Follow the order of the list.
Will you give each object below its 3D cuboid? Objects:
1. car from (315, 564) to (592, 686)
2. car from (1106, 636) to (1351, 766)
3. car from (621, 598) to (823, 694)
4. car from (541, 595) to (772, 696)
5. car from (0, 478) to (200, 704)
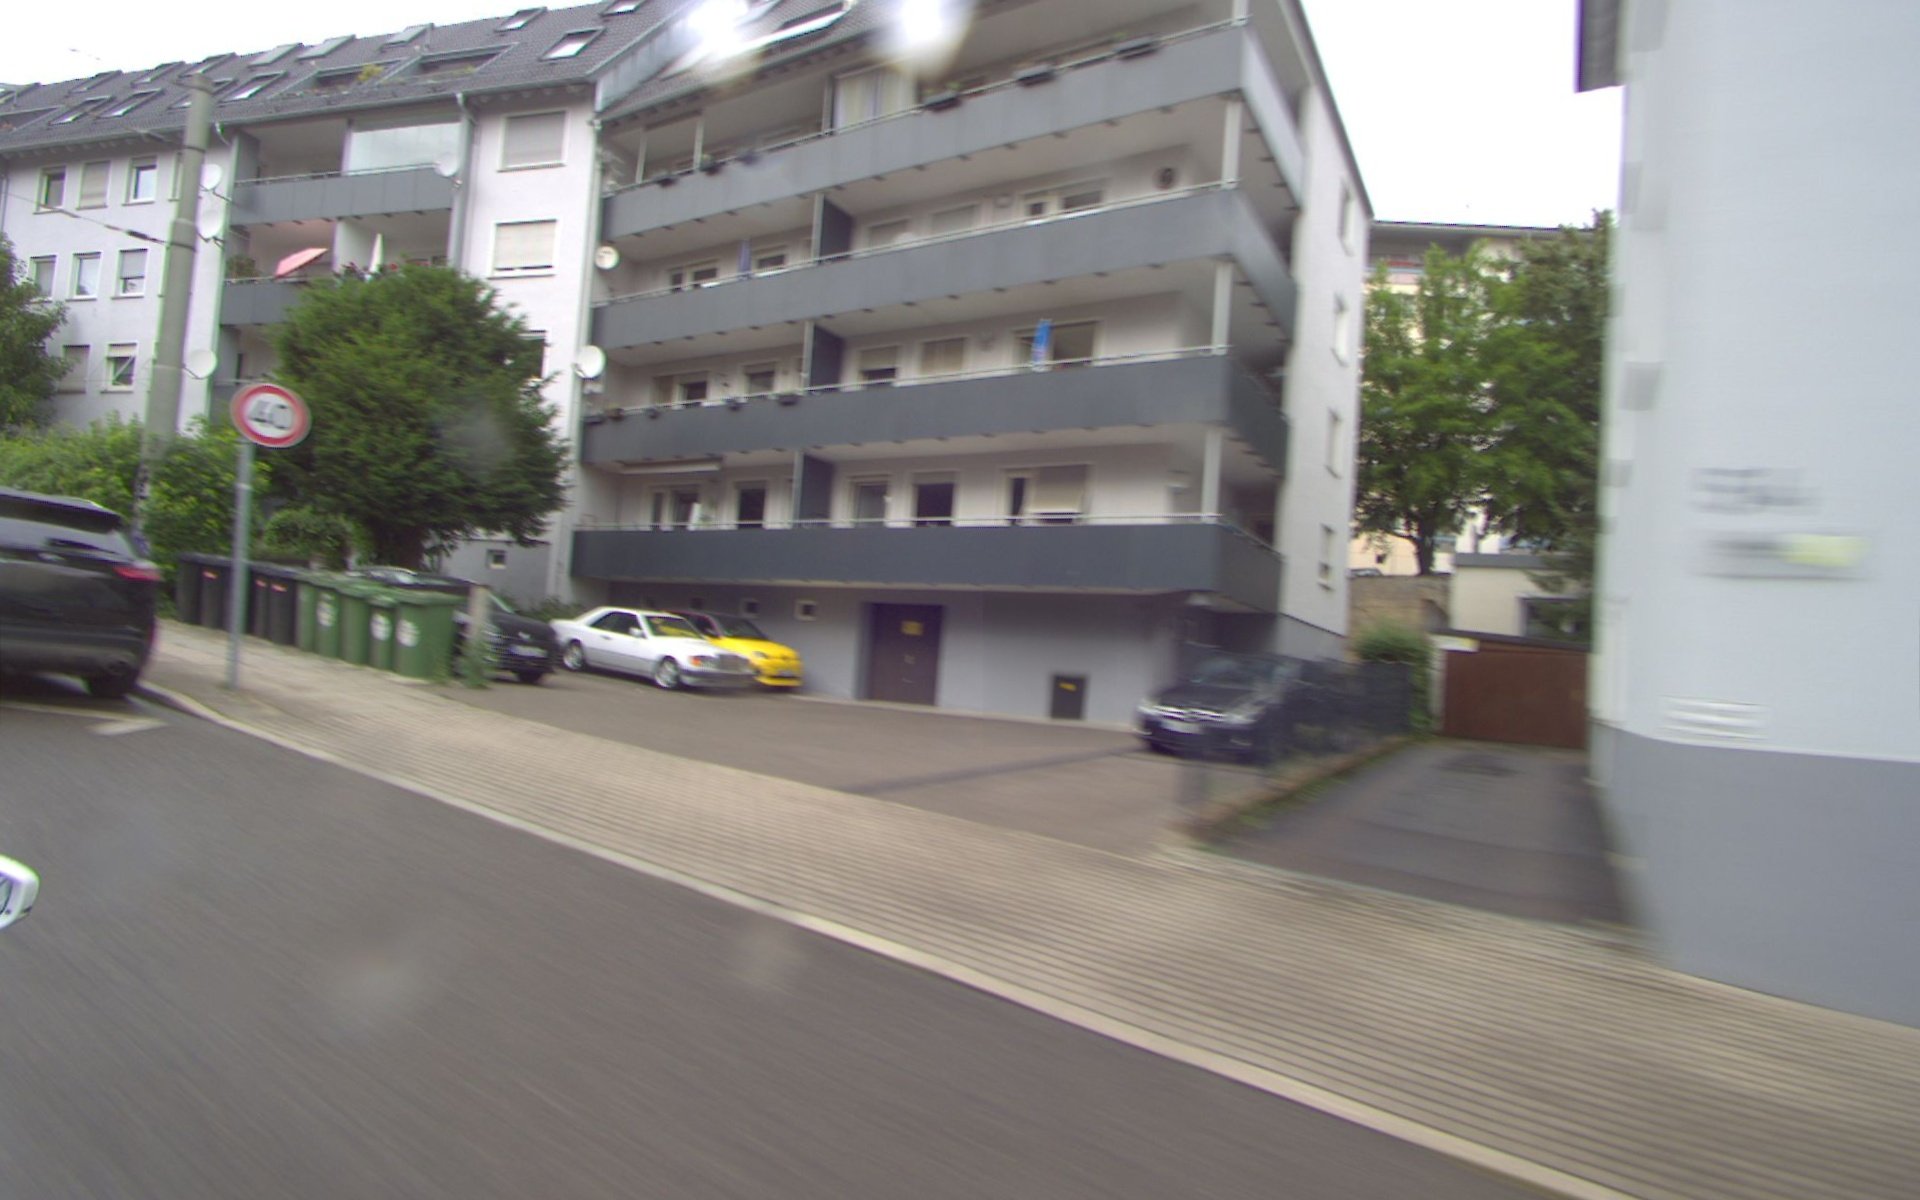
[{"bbox_3d":[-7.732,0.357,15.274,4.136,1.531,1.724,2,-4,31],"label":"car"},{"bbox_3d":[3.979,1.372,14.364,1.792,1.450,4.366,3,-1,37],"label":"car"},{"bbox_3d":[-5.180,0.983,21.722,4.134,1.539,1.687,6,-1,31],"label":"car"},{"bbox_3d":[-6.005,0.873,19.735,4.357,1.394,1.780,6,-2,31],"label":"car"},{"bbox_3d":[-9.059,-0.257,8.968,4.611,1.660,1.911,6,-3,31],"label":"car"}]
